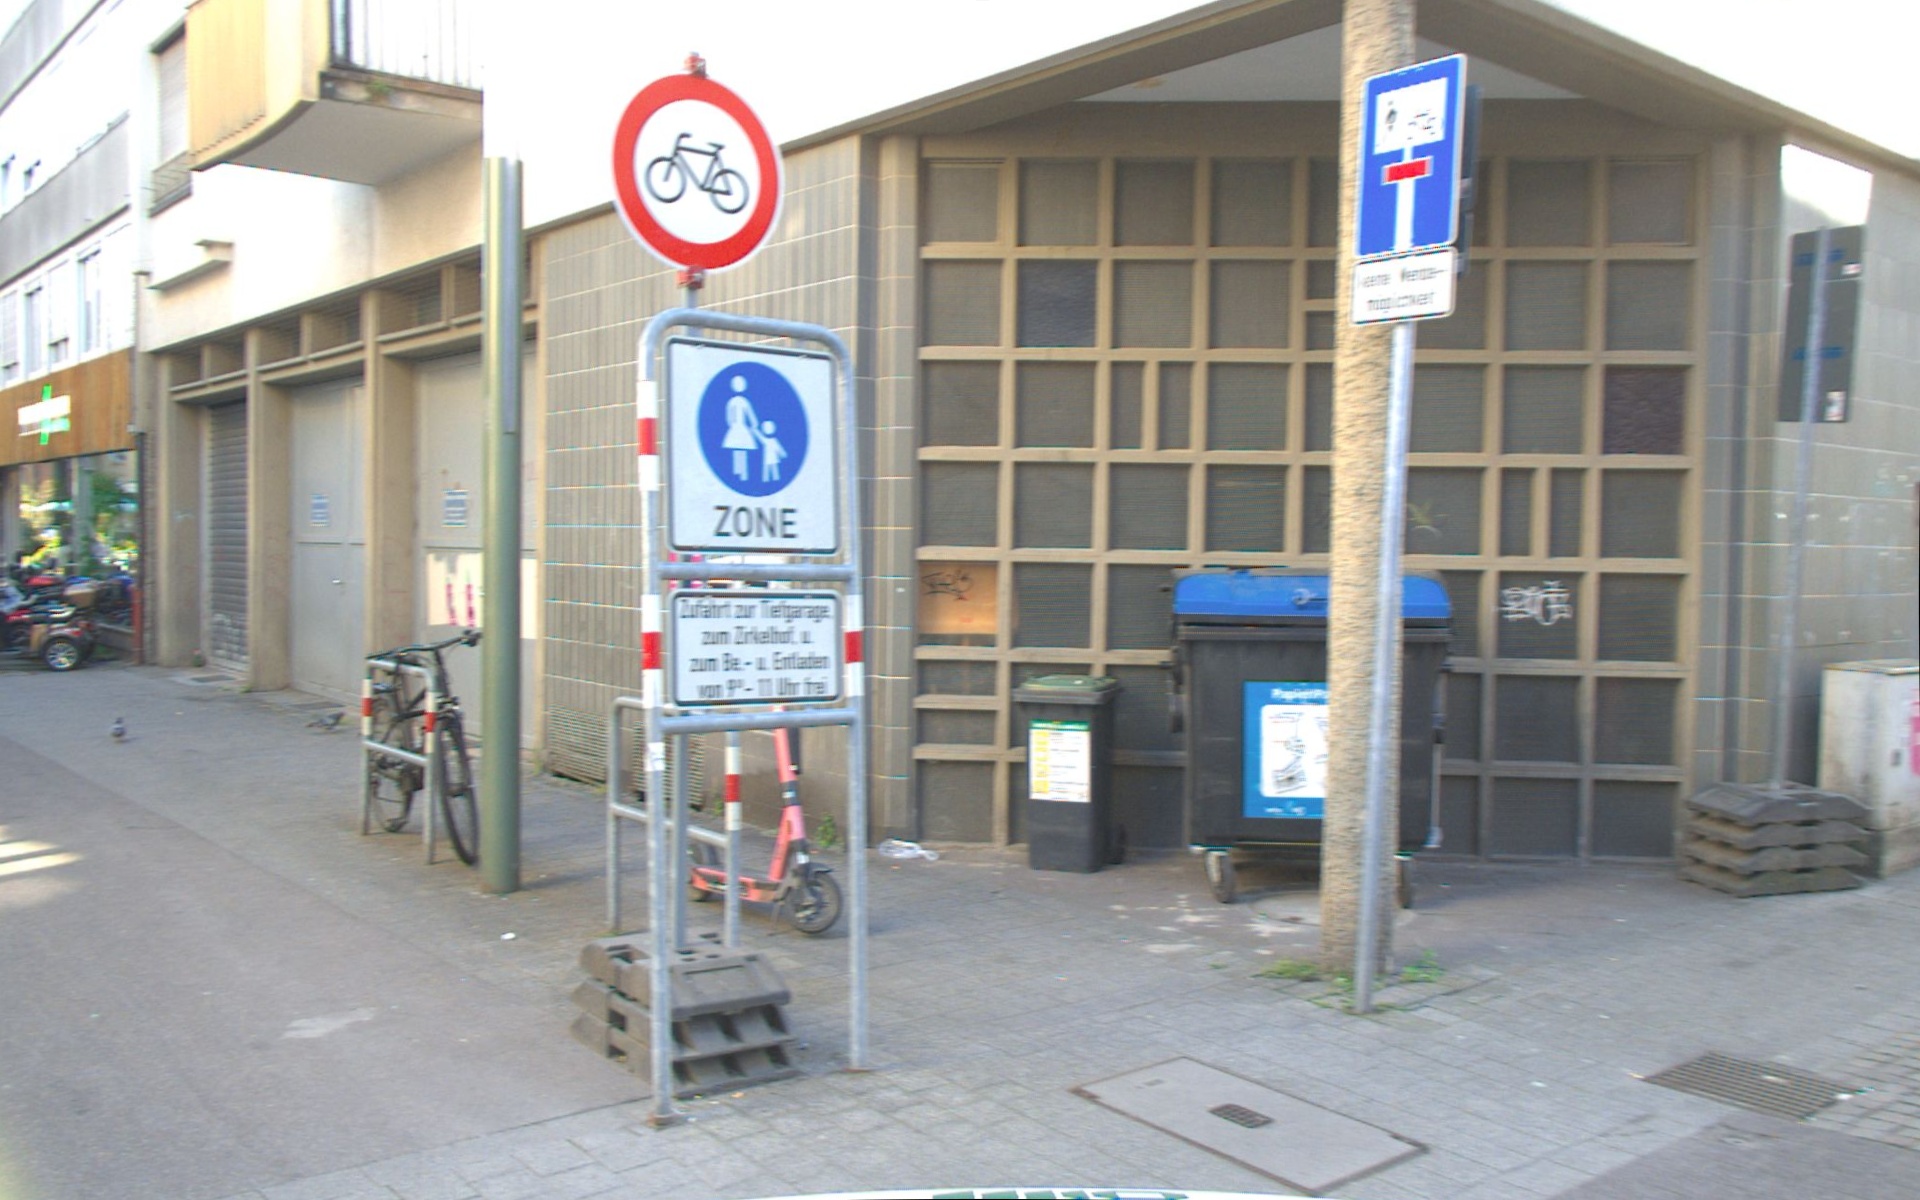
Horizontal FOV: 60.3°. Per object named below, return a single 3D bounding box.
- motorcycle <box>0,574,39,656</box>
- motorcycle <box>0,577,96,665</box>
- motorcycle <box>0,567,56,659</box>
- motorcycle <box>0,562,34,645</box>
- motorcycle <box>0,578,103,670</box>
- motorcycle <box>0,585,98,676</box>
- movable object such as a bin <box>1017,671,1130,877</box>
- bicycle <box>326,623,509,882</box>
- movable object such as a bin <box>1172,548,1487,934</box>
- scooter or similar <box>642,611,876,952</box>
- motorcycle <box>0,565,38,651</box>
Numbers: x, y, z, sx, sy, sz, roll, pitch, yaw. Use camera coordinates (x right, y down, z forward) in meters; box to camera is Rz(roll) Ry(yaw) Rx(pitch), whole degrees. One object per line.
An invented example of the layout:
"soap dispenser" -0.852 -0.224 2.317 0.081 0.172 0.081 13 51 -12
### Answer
"motorcycle" -13.352 0.202 22.430 1.462 1.094 0.409 0 1 -22
"motorcycle" -11.876 0.260 21.098 1.462 1.094 0.409 0 1 -22
"motorcycle" -12.914 0.166 21.899 1.601 1.195 0.477 0 1 -22
"motorcycle" -14.368 0.047 24.127 1.464 1.202 0.409 0 1 -25
"motorcycle" -11.331 0.287 20.202 1.495 1.094 0.409 0 1 -22
"motorcycle" -11.059 0.355 19.501 1.542 1.060 0.370 0 1 -22
"movable object such as a bin" 0.558 0.844 8.170 0.528 0.940 0.513 1 1 3
"bicycle" -2.809 0.715 8.468 0.442 1.159 1.690 1 0 -34
"movable object such as a bin" 1.662 0.587 7.724 1.260 1.616 1.156 1 2 5
"scooter or similar" -0.865 0.703 6.918 0.305 1.274 1.220 0 1 -42
"motorcycle" -13.746 0.106 23.111 1.464 1.202 0.409 0 1 -25
